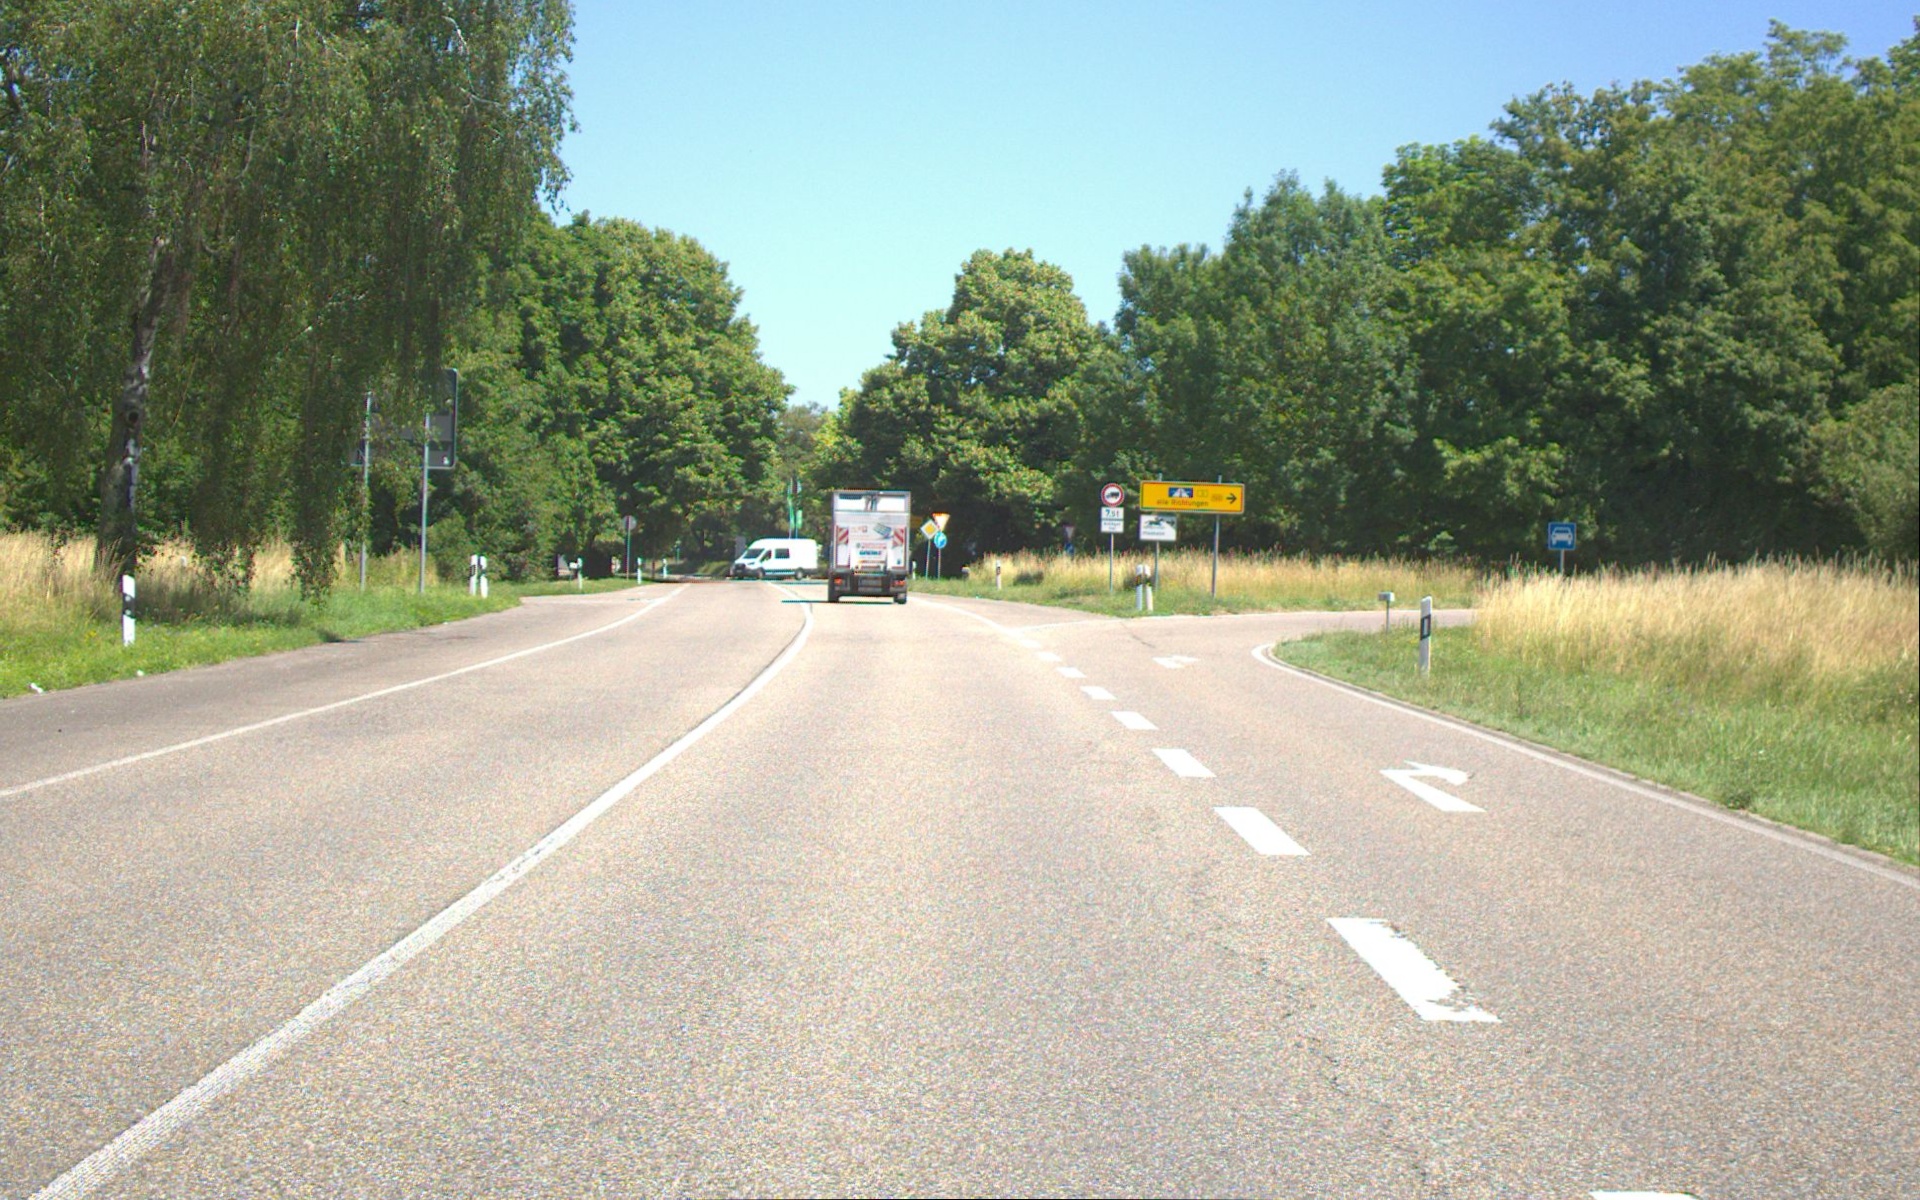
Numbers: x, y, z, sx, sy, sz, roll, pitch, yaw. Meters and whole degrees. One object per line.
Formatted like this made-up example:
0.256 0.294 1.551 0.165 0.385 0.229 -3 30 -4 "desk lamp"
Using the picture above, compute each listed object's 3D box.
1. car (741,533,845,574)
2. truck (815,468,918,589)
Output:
-11.204 -3.114 231.246 6.761 2.618 2.080 0 0 -30 "car"
-2.462 -1.922 92.131 2.534 3.124 5.361 1 1 0 "truck"
